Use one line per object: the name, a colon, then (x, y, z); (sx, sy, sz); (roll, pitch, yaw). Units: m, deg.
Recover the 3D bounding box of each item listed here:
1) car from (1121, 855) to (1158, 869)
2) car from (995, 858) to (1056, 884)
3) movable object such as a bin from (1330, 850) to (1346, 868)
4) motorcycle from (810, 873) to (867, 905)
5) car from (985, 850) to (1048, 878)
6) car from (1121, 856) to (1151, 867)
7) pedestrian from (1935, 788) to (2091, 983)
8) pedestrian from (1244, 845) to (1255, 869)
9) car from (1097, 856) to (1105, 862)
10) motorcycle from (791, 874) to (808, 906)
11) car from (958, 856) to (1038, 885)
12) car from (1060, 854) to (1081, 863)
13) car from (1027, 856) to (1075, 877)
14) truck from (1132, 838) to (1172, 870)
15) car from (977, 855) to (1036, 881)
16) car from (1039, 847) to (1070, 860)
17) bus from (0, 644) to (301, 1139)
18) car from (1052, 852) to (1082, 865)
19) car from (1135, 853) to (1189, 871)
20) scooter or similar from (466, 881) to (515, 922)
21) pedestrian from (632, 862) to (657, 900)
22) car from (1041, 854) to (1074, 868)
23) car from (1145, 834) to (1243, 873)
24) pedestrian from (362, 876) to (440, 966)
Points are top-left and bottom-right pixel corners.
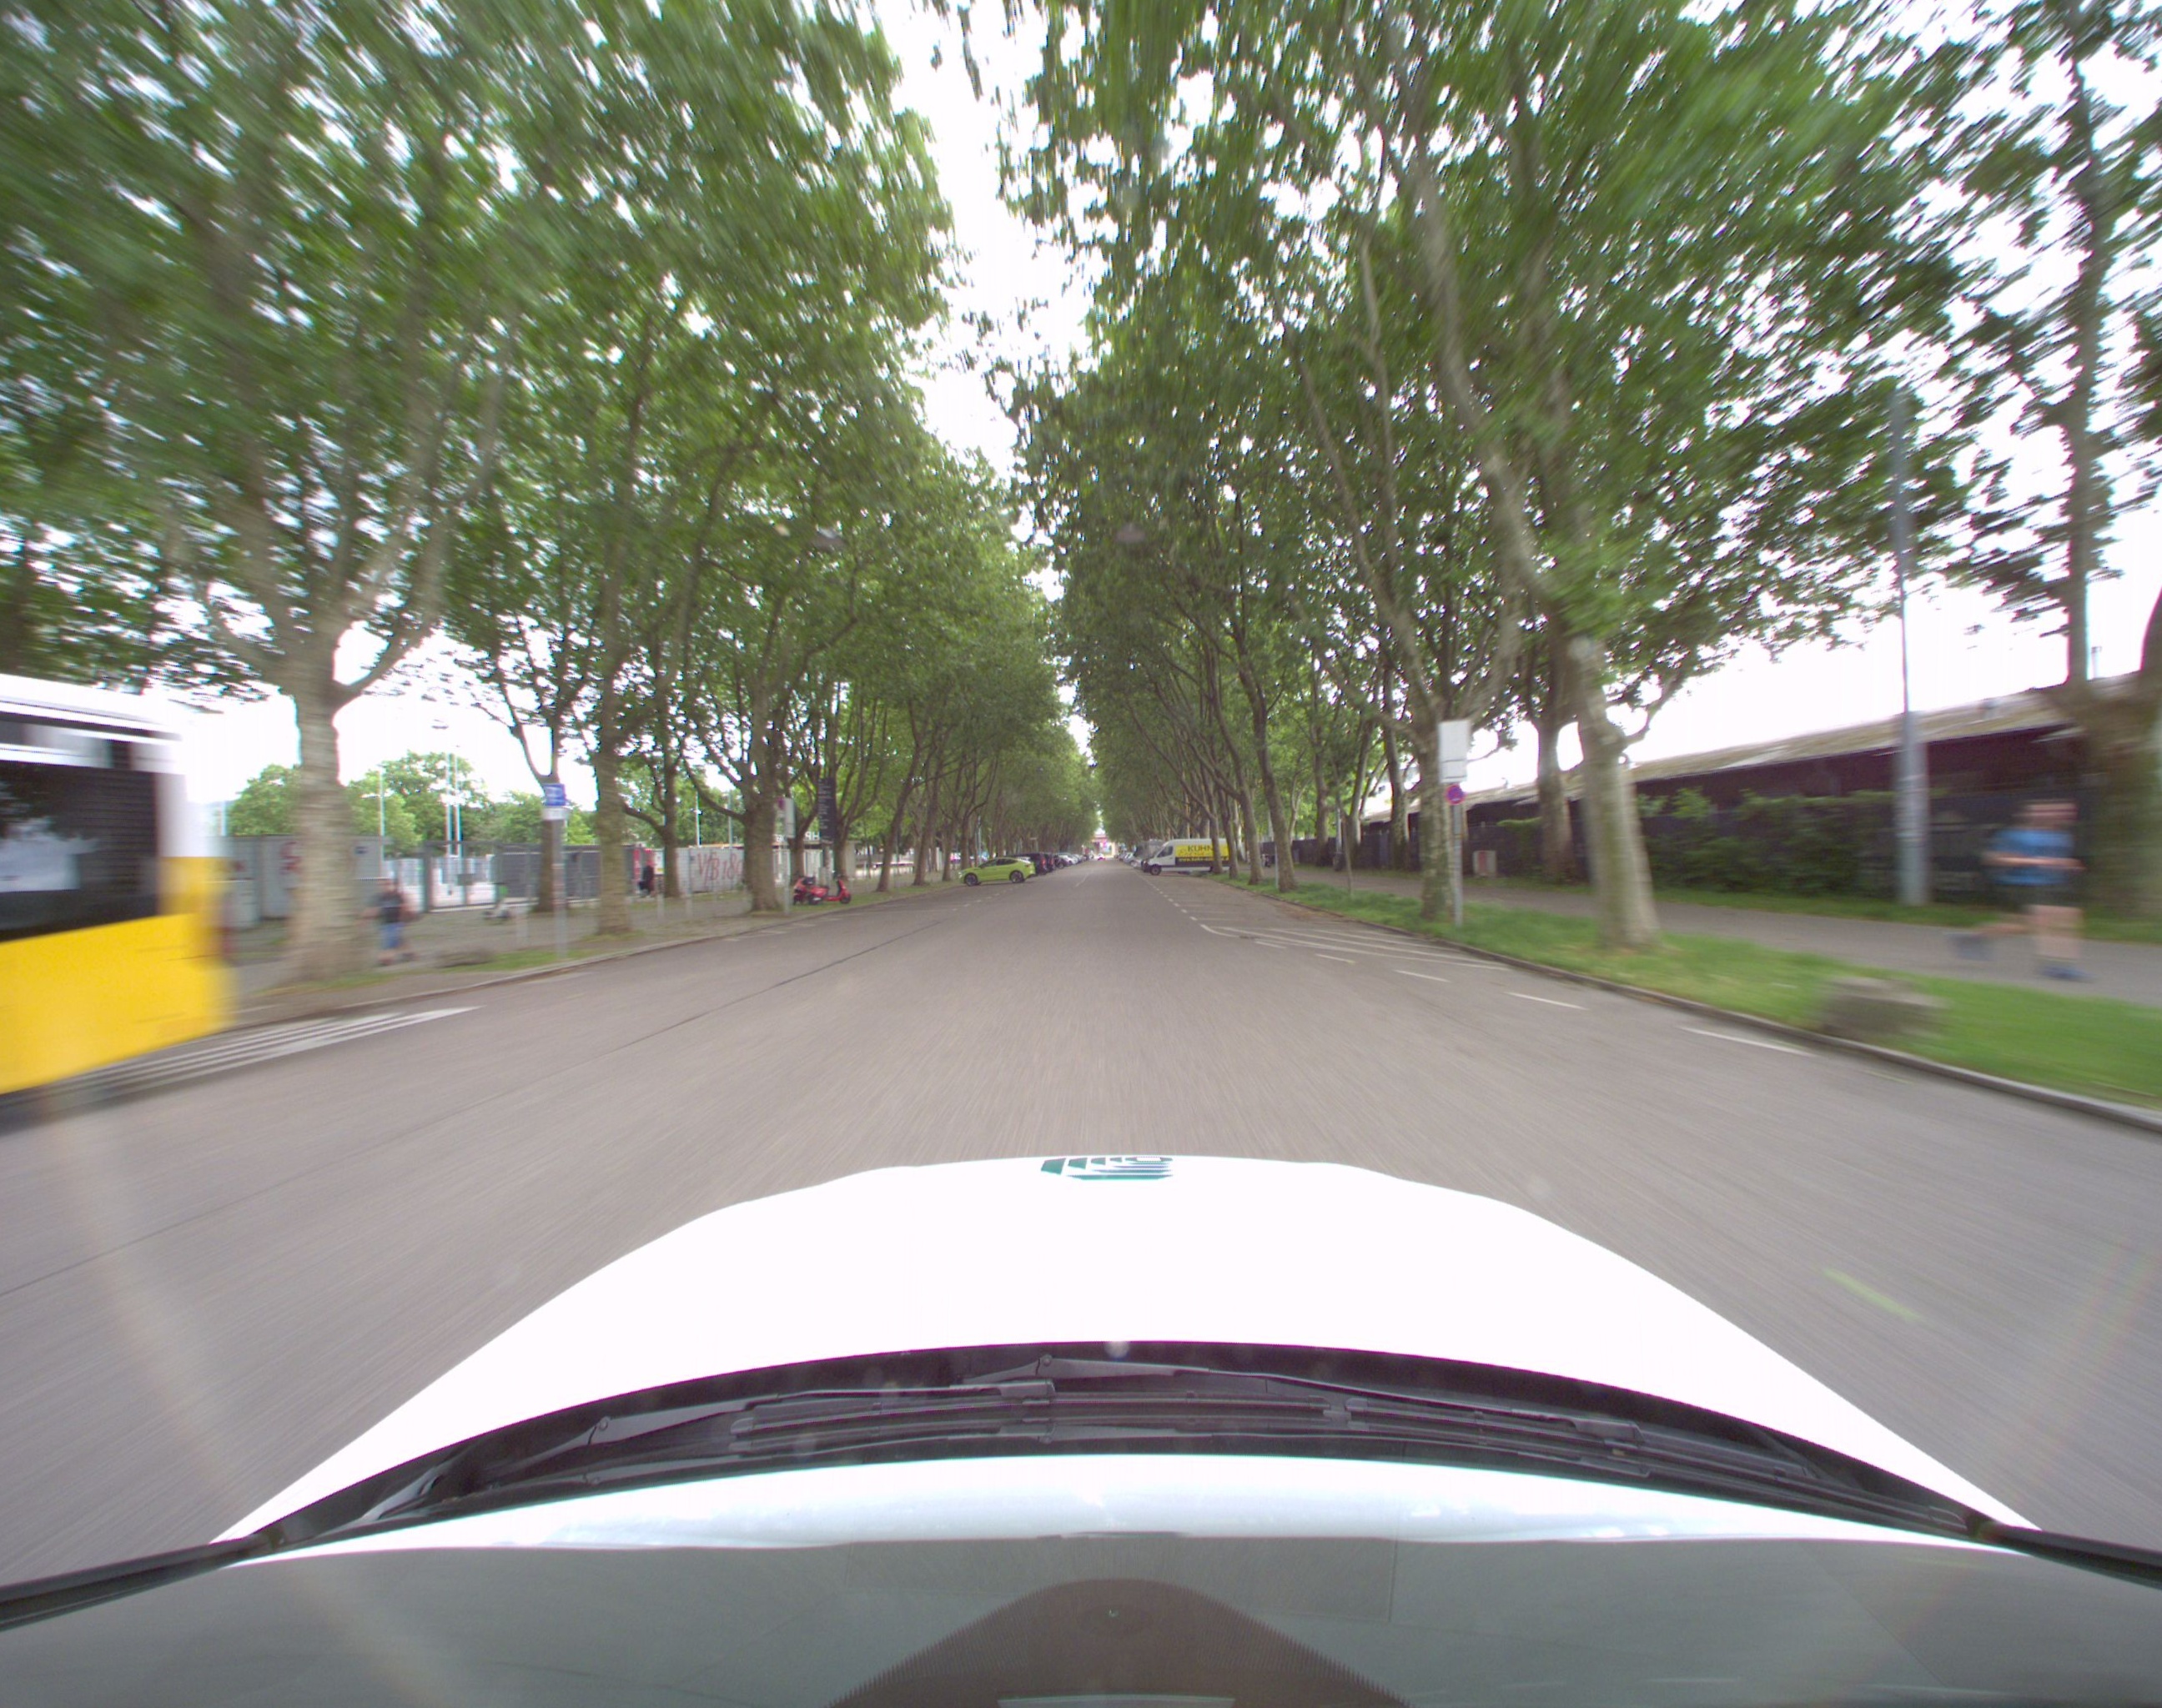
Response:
car: (7.060, 0.910, 97.992); (4.320, 1.618, 1.806); (0, 0, 4)
car: (-4.672, 1.444, 69.384); (4.886, 1.924, 2.209); (-3, 0, 2)
movable object such as a bin: (14.817, 0.300, 46.963); (0.566, 0.959, 0.675); (-6, -1, 1)
motorcycle: (-9.362, 1.339, 31.506); (0.568, 1.158, 2.089); (-1, -1, 45)
car: (-5.042, 0.798, 64.355); (4.751, 1.924, 2.016); (-3, 0, -3)
car: (7.664, 1.004, 113.240); (4.102, 1.429, 1.704); (1, -1, 3)
pedestrian: (10.141, 0.334, 8.905); (0.705, 2.014, 0.884); (-1, -1, 11)
pedestrian: (12.838, 0.211, 62.070); (0.636, 1.741, 0.621); (-4, 0, 5)
car: (4.959, 1.243, 202.463); (1.650, 1.364, 4.109); (-4, 0, -2)
motorcycle: (-10.763, 1.358, 31.167); (0.575, 1.158, 2.064); (0, 0, -18)
car: (-4.995, 1.001, 49.446); (4.496, 1.618, 1.760); (-2, 0, 4)
car: (-2.048, 0.838, 152.754); (3.816, 1.627, 1.952); (-3, 0, -2)
car: (-3.446, 1.438, 94.356); (5.418, 2.128, 1.940); (-4, 0, 0)
truck: (6.897, 0.040, 80.421); (2.456, 2.938, 7.520); (-1, 0, -7)
car: (-5.385, 1.012, 59.417); (4.096, 1.568, 1.756); (-4, 0, -3)
car: (-3.891, -0.108, 120.889); (4.327, 1.667, 2.000); (-4, 0, -1)
bus: (-8.450, 0.302, 0.835); (2.640, 3.154, 12.379); (-5, 0, 3)
car: (-2.315, 0.753, 135.766); (4.877, 2.019, 1.920); (-3, -1, 0)
car: (6.590, 0.643, 66.591); (4.338, 1.445, 1.614); (-1, 0, 5)
scooter or similar: (-17.668, 1.417, 24.373); (1.176, 1.173, 0.446); (-1, -1, 6)
pedestrian: (-20.532, 1.263, 38.300); (0.701, 1.754, 0.874); (-1, -1, 1)
car: (-3.194, 0.986, 112.832); (4.366, 1.597, 2.000); (-3, 0, -1)
car: (8.122, -0.015, 59.109); (6.852, 2.695, 2.129); (-1, -1, 3)
pedestrian: (-12.564, 1.206, 15.073); (0.659, 1.589, 0.913); (-1, -1, 1)
